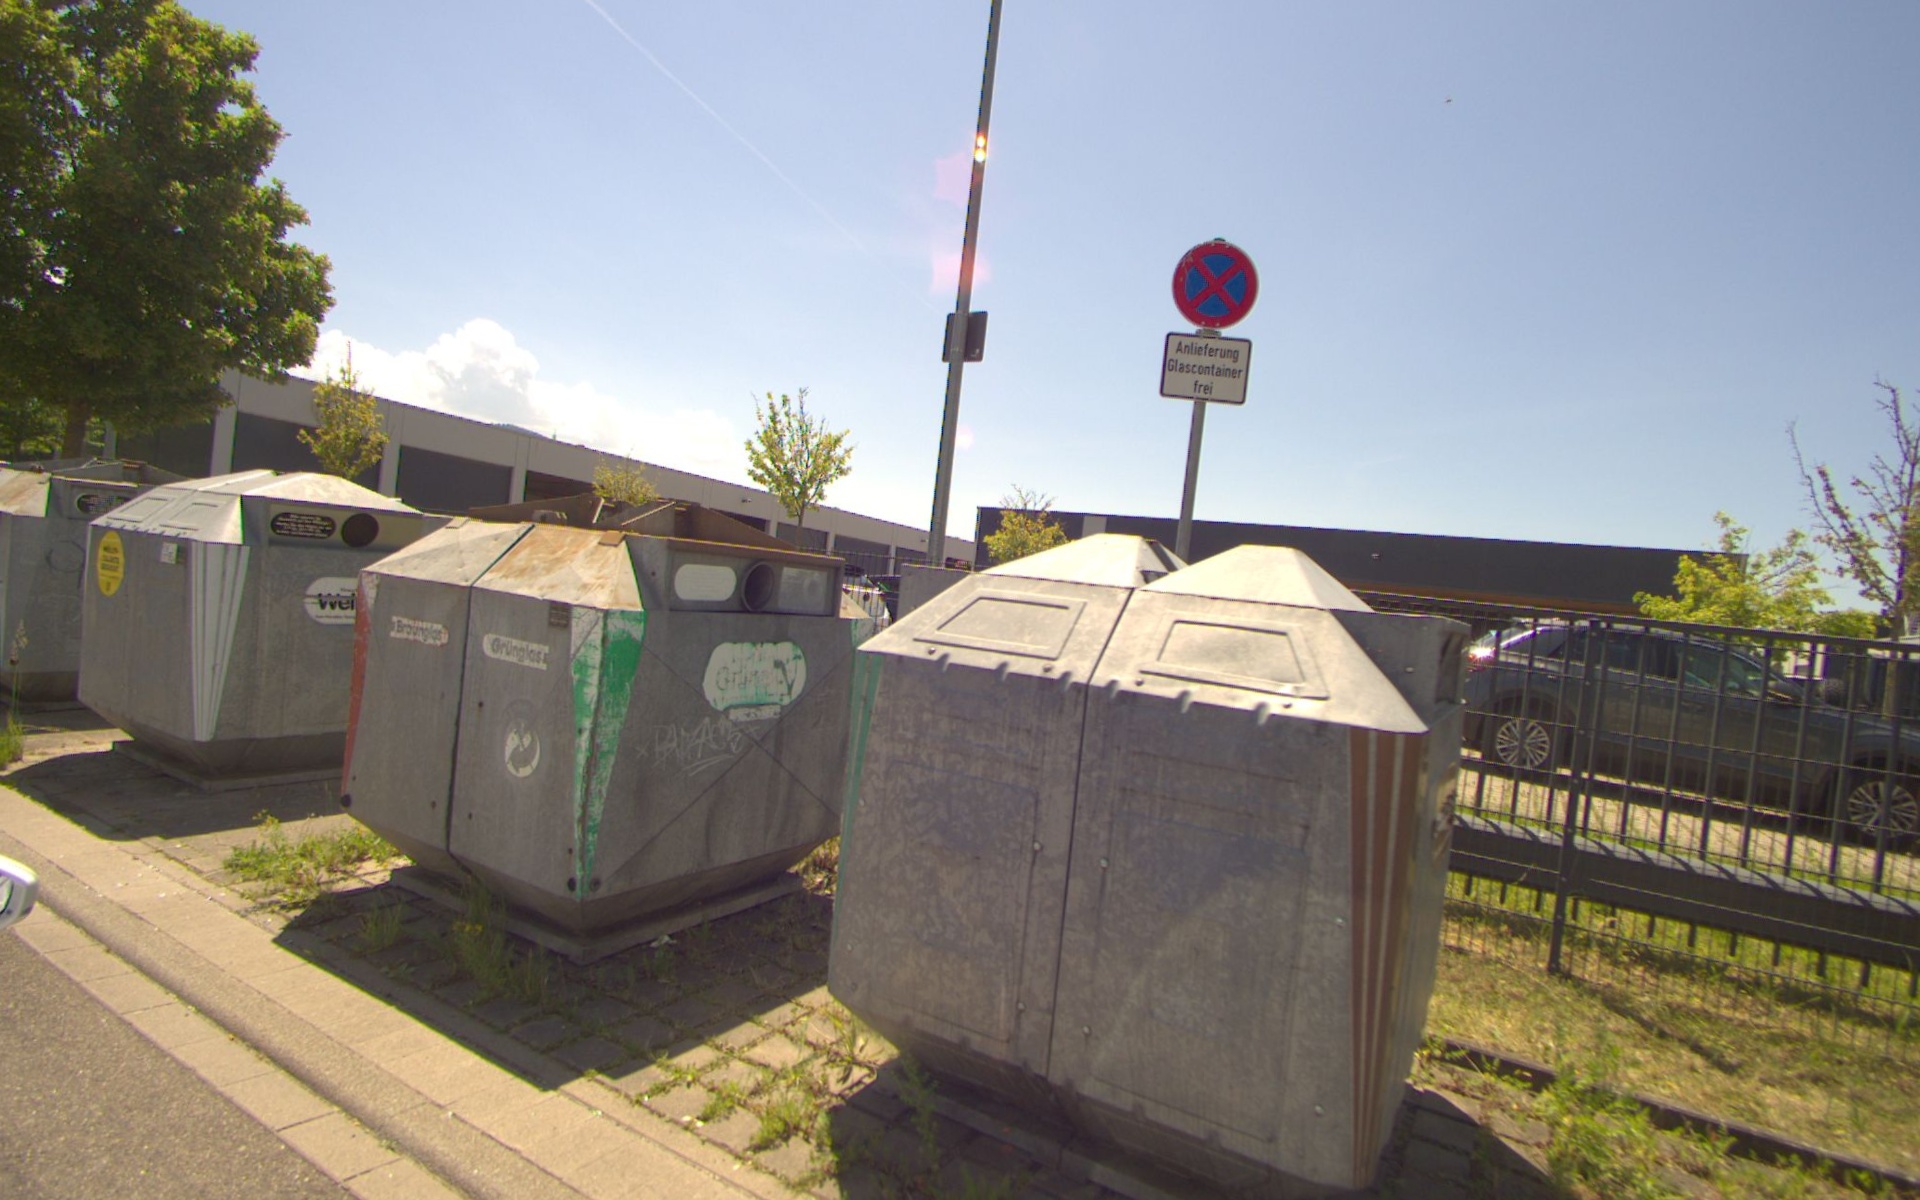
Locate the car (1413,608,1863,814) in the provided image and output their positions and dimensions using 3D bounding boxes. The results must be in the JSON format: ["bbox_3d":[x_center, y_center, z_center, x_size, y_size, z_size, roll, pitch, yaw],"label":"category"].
[{"bbox_3d":[7.631,1.179,11.804,3.953,1.511,1.648,9,2,29],"label":"car"}]

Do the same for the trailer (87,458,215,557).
[{"bbox_3d":[-20.697,-2.373,25.709,3.210,2.033,1.494,10,3,33],"label":"trailer"}]

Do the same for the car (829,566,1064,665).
[{"bbox_3d":[-0.282,0.291,19.192,4.030,1.479,1.792,5,0,29],"label":"car"}]

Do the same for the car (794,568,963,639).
[{"bbox_3d":[-2.156,0.086,26.509,4.030,1.479,1.792,5,0,29],"label":"car"}]

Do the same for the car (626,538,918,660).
[{"bbox_3d":[-2.890,-0.033,15.293,4.072,1.450,1.792,5,0,29],"label":"car"}]

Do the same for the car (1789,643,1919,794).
[{"bbox_3d":[14.351,1.770,13.589,4.439,1.923,1.914,5,0,29],"label":"car"}]

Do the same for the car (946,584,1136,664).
[{"bbox_3d":[1.897,0.557,23.893,4.030,1.479,1.792,5,0,29],"label":"car"}]

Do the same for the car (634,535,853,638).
[{"bbox_3d":[-4.655,-0.300,21.463,4.345,1.500,1.792,9,2,29],"label":"car"}]

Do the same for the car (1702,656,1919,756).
[{"bbox_3d":[19.464,2.353,22.334,4.455,1.736,1.914,5,0,29],"label":"car"}]

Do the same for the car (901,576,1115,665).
[{"bbox_3d":[0.990,0.426,21.218,4.030,1.479,1.792,5,0,29],"label":"car"}]

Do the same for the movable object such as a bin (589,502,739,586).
[{"bbox_3d":[-18.096,-3.411,61.316,8.519,4.025,3.545,8,1,30],"label":"movable object such as a bin"}]

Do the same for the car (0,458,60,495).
[{"bbox_3d":[-45.683,-5.996,47.371,1.966,1.415,4.445,5,-1,29],"label":"car"}]

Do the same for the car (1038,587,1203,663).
[{"bbox_3d":[4.431,0.689,27.876,4.030,1.703,1.792,5,0,29],"label":"car"}]

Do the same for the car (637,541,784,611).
[{"bbox_3d":[-9.663,-0.958,38.858,5.560,2.291,1.883,4,0,28],"label":"car"}]

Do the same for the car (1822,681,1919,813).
[{"bbox_3d":[13.074,1.909,11.442,4.571,1.451,1.842,5,-1,29],"label":"car"}]

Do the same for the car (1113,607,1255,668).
[{"bbox_3d":[7.196,1.197,32.422,4.030,1.534,1.792,5,0,29],"label":"car"}]

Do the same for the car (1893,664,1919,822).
[{"bbox_3d":[12.118,1.671,9.384,4.571,1.674,1.842,5,0,29],"label":"car"}]

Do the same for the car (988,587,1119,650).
[{"bbox_3d":[3.215,0.639,34.718,4.030,1.783,1.792,5,0,29],"label":"car"}]

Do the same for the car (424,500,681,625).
[{"bbox_3d":[-7.272,-0.679,17.856,4.345,1.550,1.792,9,2,29],"label":"car"}]

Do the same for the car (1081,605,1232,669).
[{"bbox_3d":[5.939,1.107,30.420,4.030,1.534,1.792,5,0,29],"label":"car"}]

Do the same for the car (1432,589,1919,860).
[{"bbox_3d":[6.789,1.058,9.238,4.168,1.643,1.792,9,2,29],"label":"car"}]

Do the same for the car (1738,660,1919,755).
[{"bbox_3d":[18.474,2.196,19.945,4.439,1.552,1.914,5,0,29],"label":"car"}]

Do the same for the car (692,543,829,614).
[{"bbox_3d":[-8.262,-0.908,41.507,5.412,2.508,1.883,4,0,28],"label":"car"}]

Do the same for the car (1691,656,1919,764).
[{"bbox_3d":[16.251,2.030,18.307,4.439,1.552,1.914,5,0,29],"label":"car"}]
